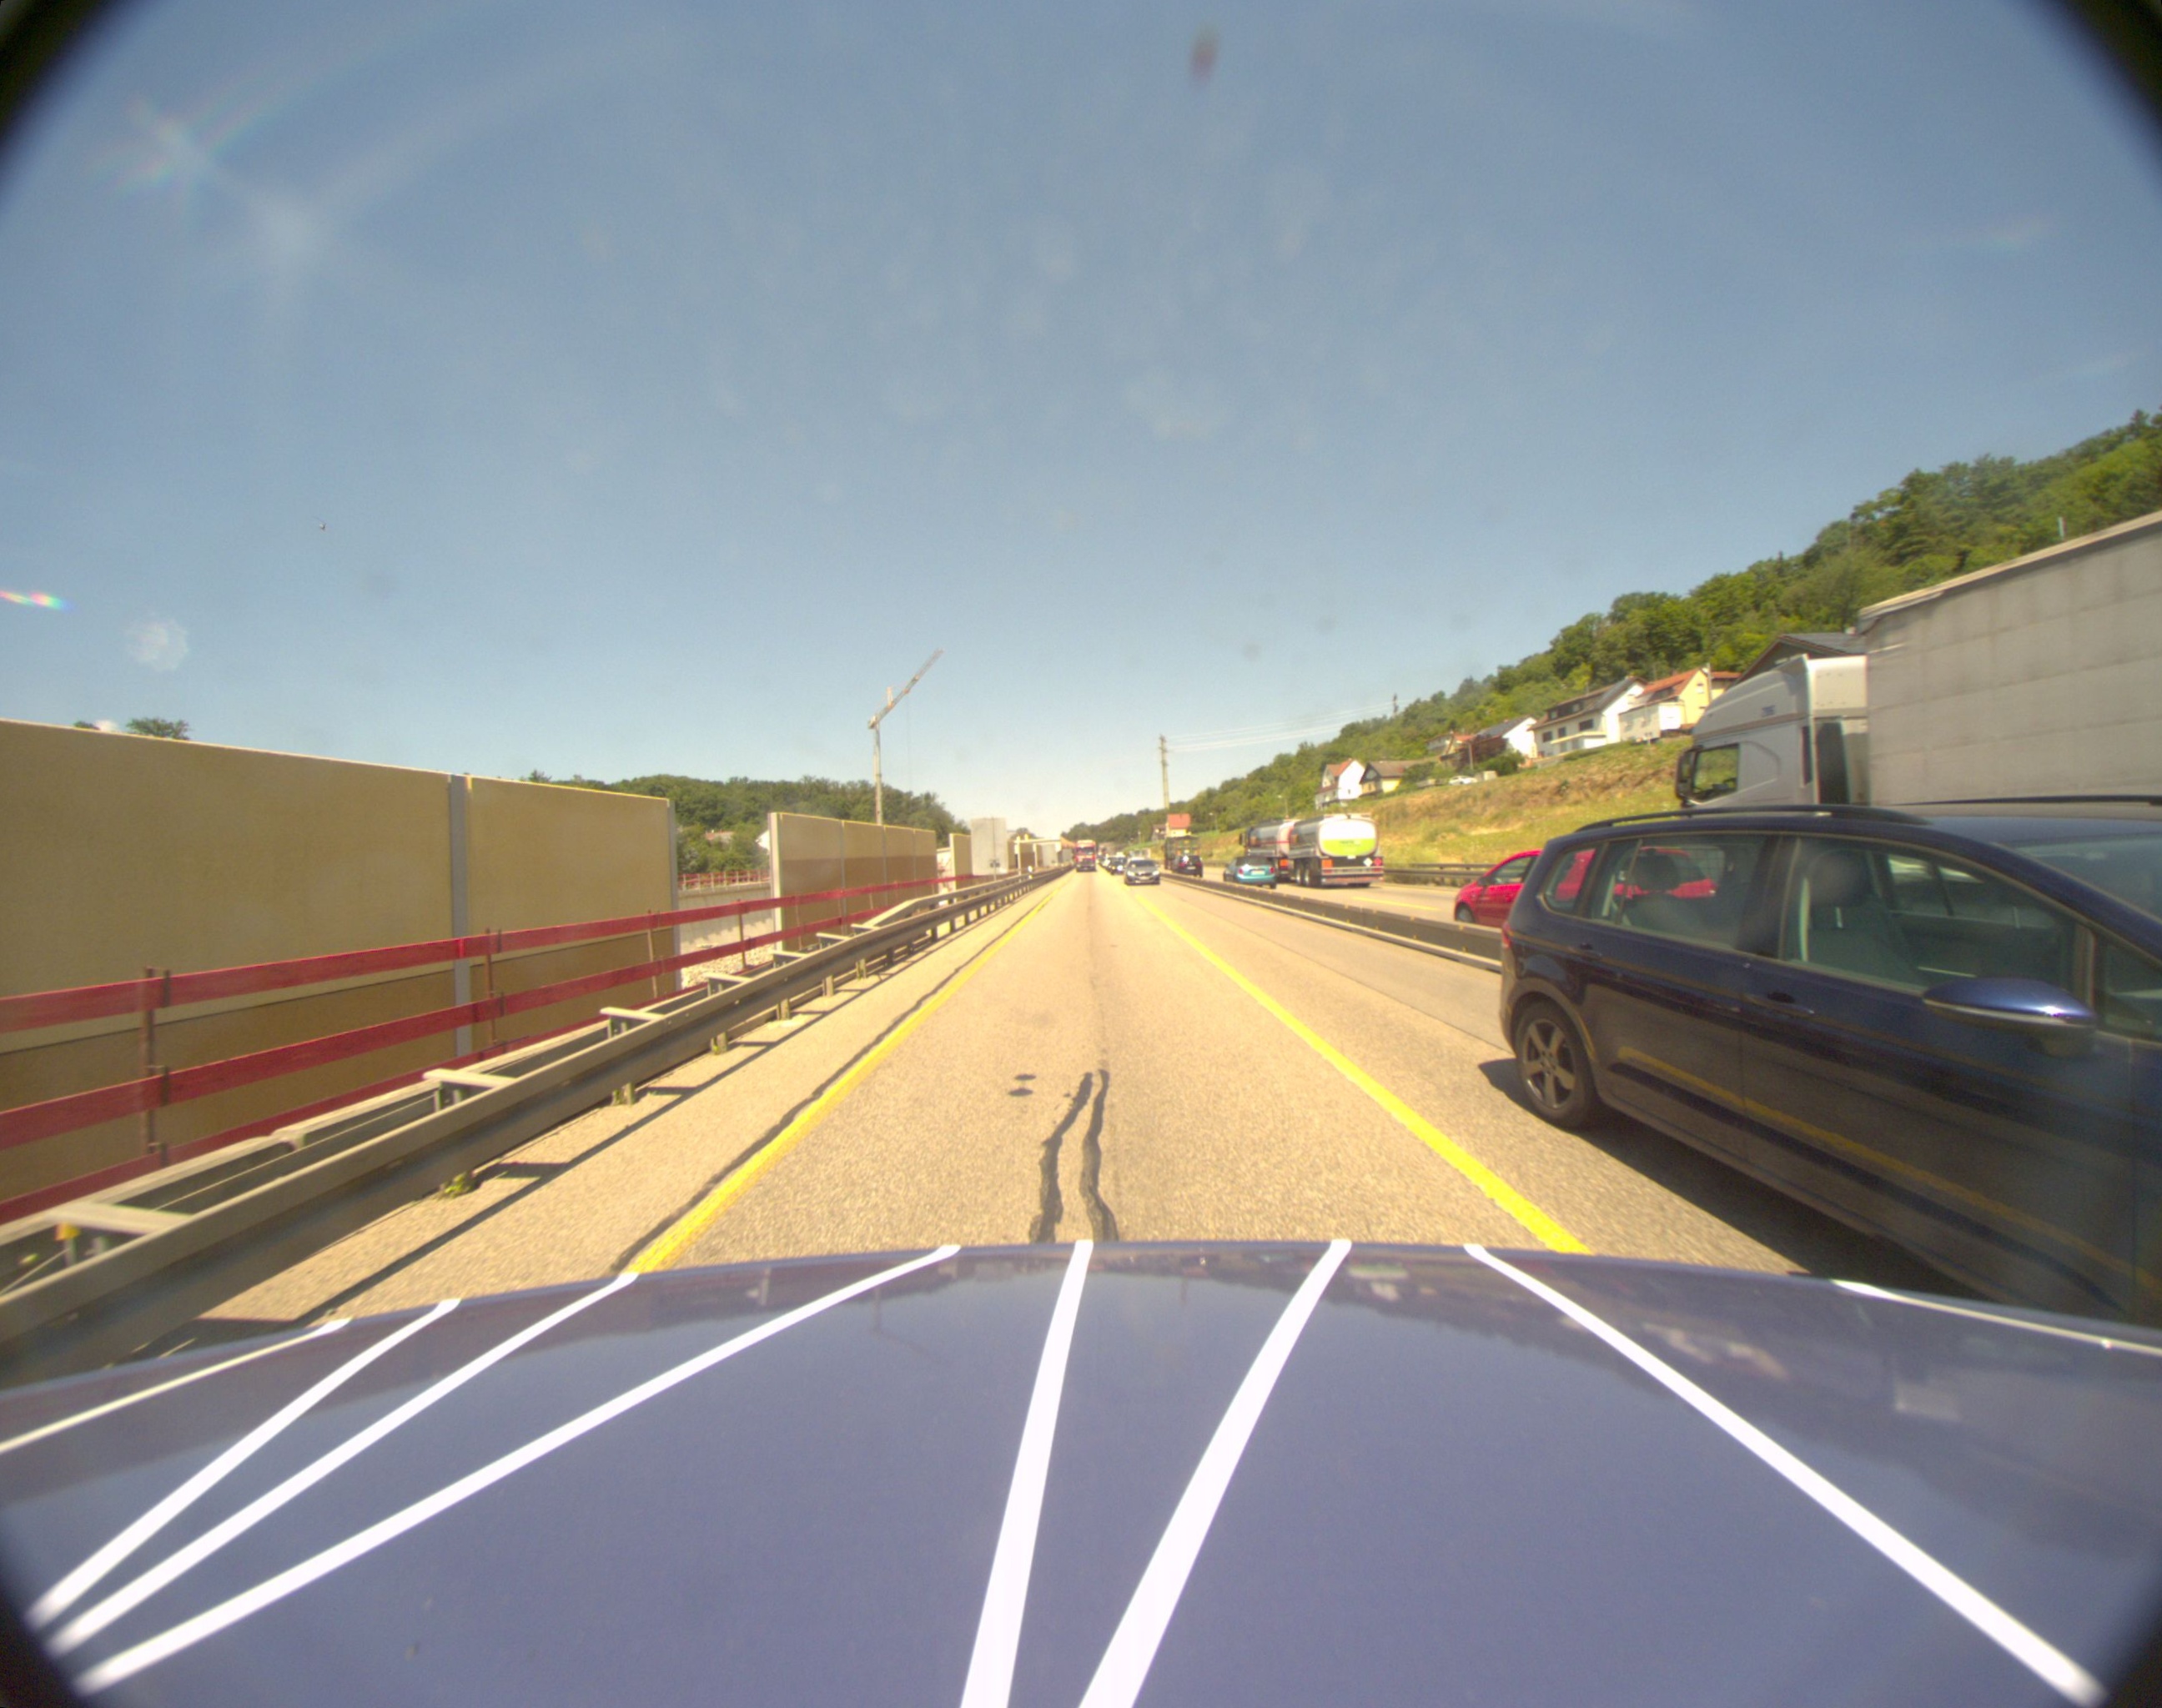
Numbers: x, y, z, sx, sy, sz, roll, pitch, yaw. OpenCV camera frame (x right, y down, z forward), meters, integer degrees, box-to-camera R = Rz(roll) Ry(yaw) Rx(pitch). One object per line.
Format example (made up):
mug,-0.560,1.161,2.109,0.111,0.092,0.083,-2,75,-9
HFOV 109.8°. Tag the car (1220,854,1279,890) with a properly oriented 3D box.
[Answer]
car,7.143,0.723,32.626,1.670,1.386,3.905,-2,0,0

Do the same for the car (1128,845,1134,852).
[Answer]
car,16.480,-1.928,248.960,1.679,2.203,4.044,-2,0,0

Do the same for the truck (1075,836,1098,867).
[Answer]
truck,0.780,-0.271,99.014,2.605,3.704,10.537,-2,-1,1

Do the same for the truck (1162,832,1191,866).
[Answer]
truck,11.474,-0.641,92.014,2.902,3.915,4.178,-2,0,1

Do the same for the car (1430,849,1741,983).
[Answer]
car,6.599,0.692,10.553,1.674,1.457,4.000,-2,0,1

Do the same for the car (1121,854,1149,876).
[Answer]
car,3.872,0.760,54.895,1.780,1.447,4.336,-2,-1,1

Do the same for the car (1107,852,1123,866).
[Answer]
car,3.956,0.599,89.748,1.780,1.486,4.336,-2,-1,1

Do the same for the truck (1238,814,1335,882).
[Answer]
truck,10.624,-0.281,40.274,2.733,3.124,8.959,-2,0,1

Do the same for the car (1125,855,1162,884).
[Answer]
car,3.409,0.849,42.046,1.780,1.447,4.336,-2,-1,1

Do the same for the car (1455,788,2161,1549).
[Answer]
car,3.299,0.682,2.577,1.780,1.708,4.653,-2,-1,1

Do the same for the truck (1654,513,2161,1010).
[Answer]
truck,10.189,-0.818,9.014,2.752,4.157,5.288,-2,0,1

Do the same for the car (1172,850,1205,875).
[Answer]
car,7.520,0.592,53.466,1.722,1.625,4.499,-2,0,1

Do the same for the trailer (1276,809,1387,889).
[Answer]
trailer,10.500,-0.192,32.546,2.619,2.983,6.370,-2,0,1

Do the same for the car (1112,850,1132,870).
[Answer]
car,3.883,0.584,72.605,1.780,1.727,4.336,-2,-1,1

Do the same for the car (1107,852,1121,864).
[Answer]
car,4.535,0.544,104.078,1.780,1.486,4.336,-2,-1,1

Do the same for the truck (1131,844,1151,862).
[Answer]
truck,12.109,-0.206,155.691,2.769,3.303,15.936,-2,0,0

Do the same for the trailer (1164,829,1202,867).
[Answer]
trailer,11.432,-0.640,86.146,2.920,3.915,10.526,-2,0,1

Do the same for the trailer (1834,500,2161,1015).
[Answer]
trailer,10.063,-0.805,1.820,2.793,4.157,13.979,-2,0,1

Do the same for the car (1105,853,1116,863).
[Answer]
car,4.826,0.630,125.405,1.780,1.486,4.336,-2,-1,1
